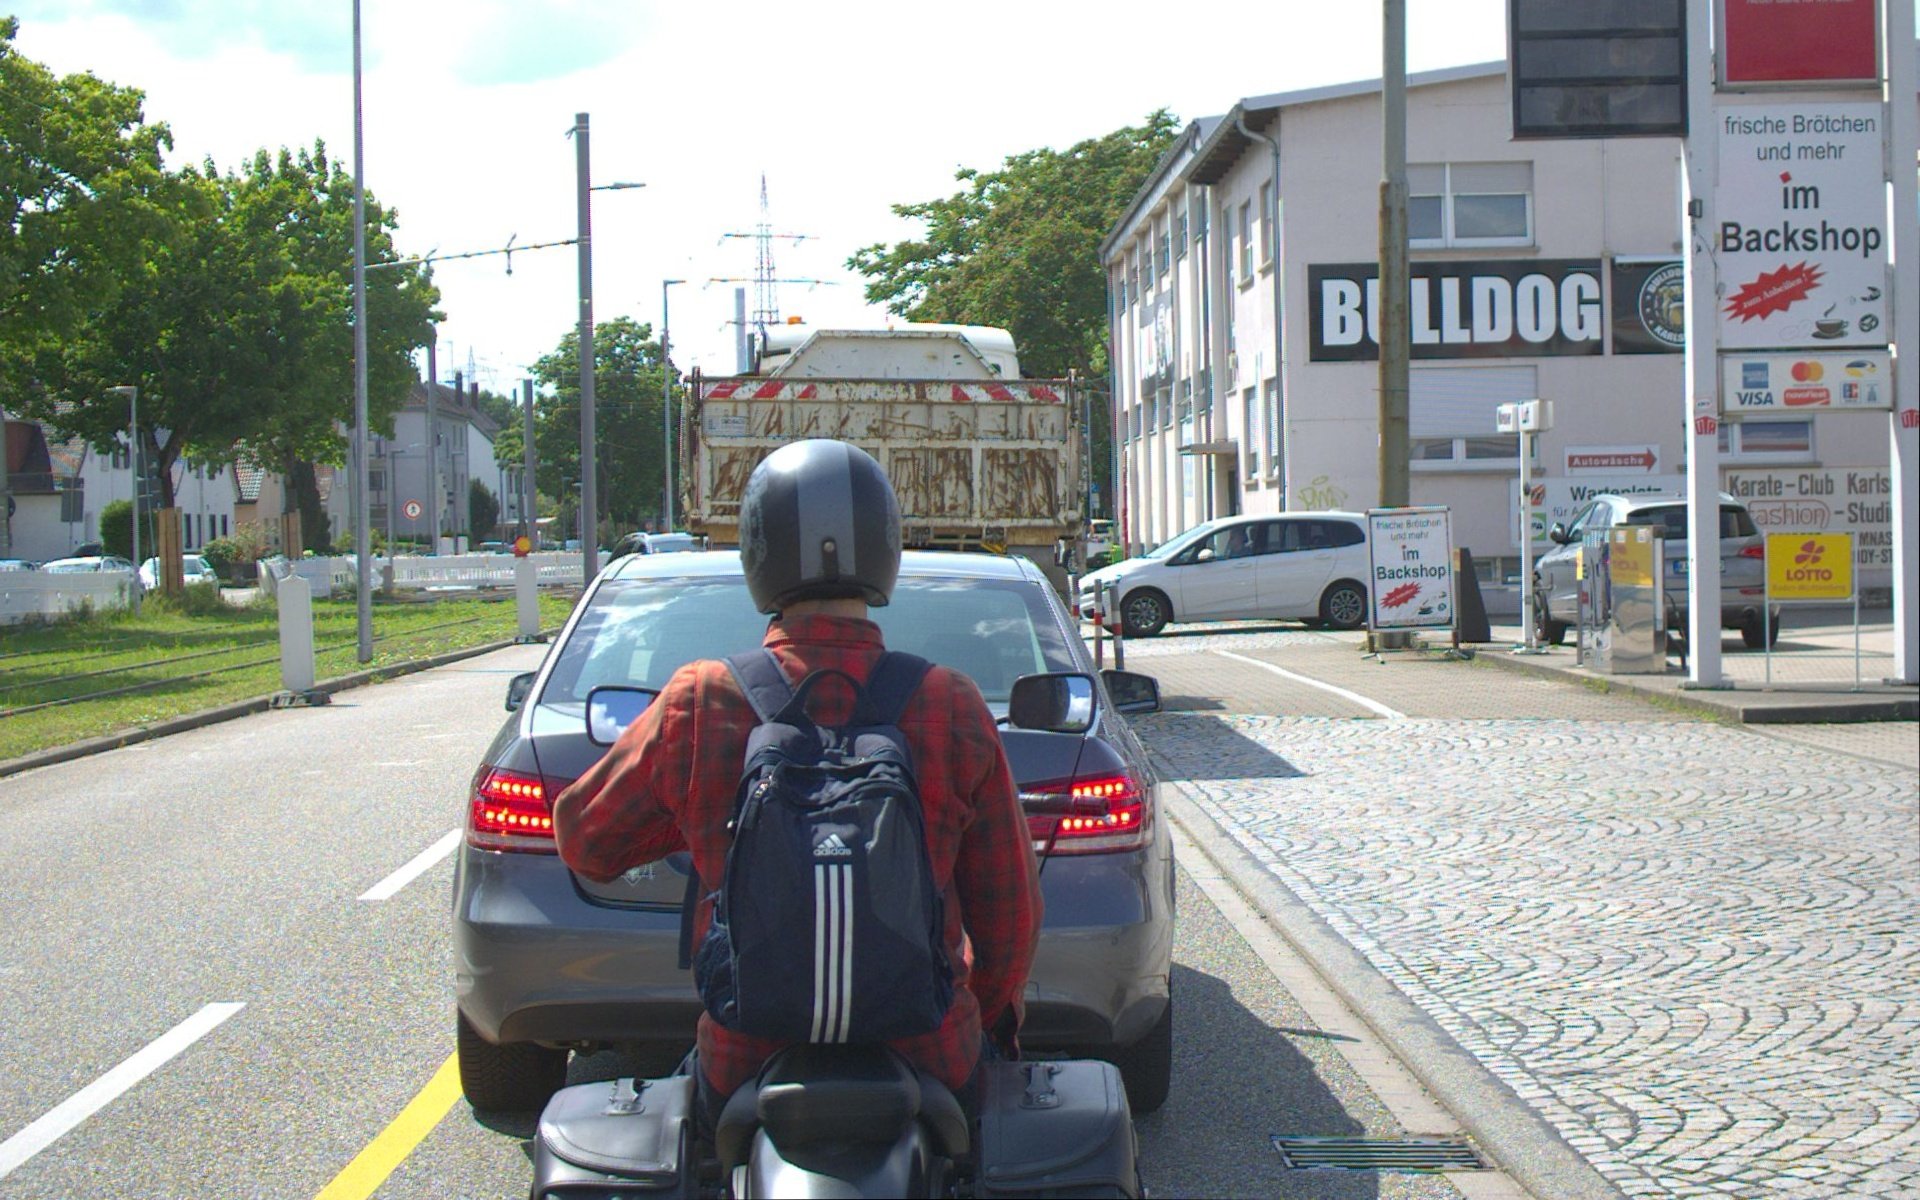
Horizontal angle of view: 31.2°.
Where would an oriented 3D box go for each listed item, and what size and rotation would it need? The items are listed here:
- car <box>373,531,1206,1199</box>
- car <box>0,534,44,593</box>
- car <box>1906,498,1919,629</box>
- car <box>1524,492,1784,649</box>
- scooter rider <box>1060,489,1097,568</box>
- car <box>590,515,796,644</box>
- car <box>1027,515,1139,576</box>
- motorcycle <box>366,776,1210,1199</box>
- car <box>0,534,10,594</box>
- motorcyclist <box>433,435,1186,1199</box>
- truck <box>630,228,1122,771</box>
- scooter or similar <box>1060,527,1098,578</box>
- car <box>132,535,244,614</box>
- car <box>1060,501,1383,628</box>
[{"bbox_3d":[-0.436,0.570,9.728,1.832,1.474,4.010,-1,1,-2],"label":"car"},{"bbox_3d":[-29.273,-1.114,104.586,1.698,1.733,4.062,-1,1,0],"label":"car"},{"bbox_3d":[11.785,-0.400,37.244,1.832,1.474,4.010,-1,1,-2],"label":"car"},{"bbox_3d":[7.321,-0.340,36.646,1.832,1.530,4.010,-1,1,-2],"label":"car"},{"bbox_3d":[2.739,-1.650,79.412,0.795,1.812,0.508,-1,1,-1],"label":"scooter rider"},{"bbox_3d":[-3.623,-0.297,46.010,1.680,1.619,4.120,-2,1,-20],"label":"car"},{"bbox_3d":[3.739,-1.674,105.229,1.911,1.781,4.077,-2,1,-22],"label":"car"},{"bbox_3d":[-0.217,0.866,5.208,0.976,1.010,2.432,1,1,-1],"label":"motorcycle"},{"bbox_3d":[-28.678,-1.002,98.576,1.698,1.733,4.062,-1,1,0],"label":"car"},{"bbox_3d":[-0.207,0.591,5.085,0.969,1.627,1.215,1,1,-1],"label":"motorcyclist"},{"bbox_3d":[-0.637,-0.714,25.469,2.970,3.293,8.408,-1,1,-2],"label":"truck"},{"bbox_3d":[2.750,-1.101,79.469,0.795,1.141,1.519,-1,1,-1],"label":"scooter or similar"},{"bbox_3d":[-17.874,-0.622,79.738,1.698,1.733,3.860,-1,1,0],"label":"car"},{"bbox_3d":[3.546,-0.501,47.031,4.104,1.619,1.686,-1,1,-8],"label":"car"}]
